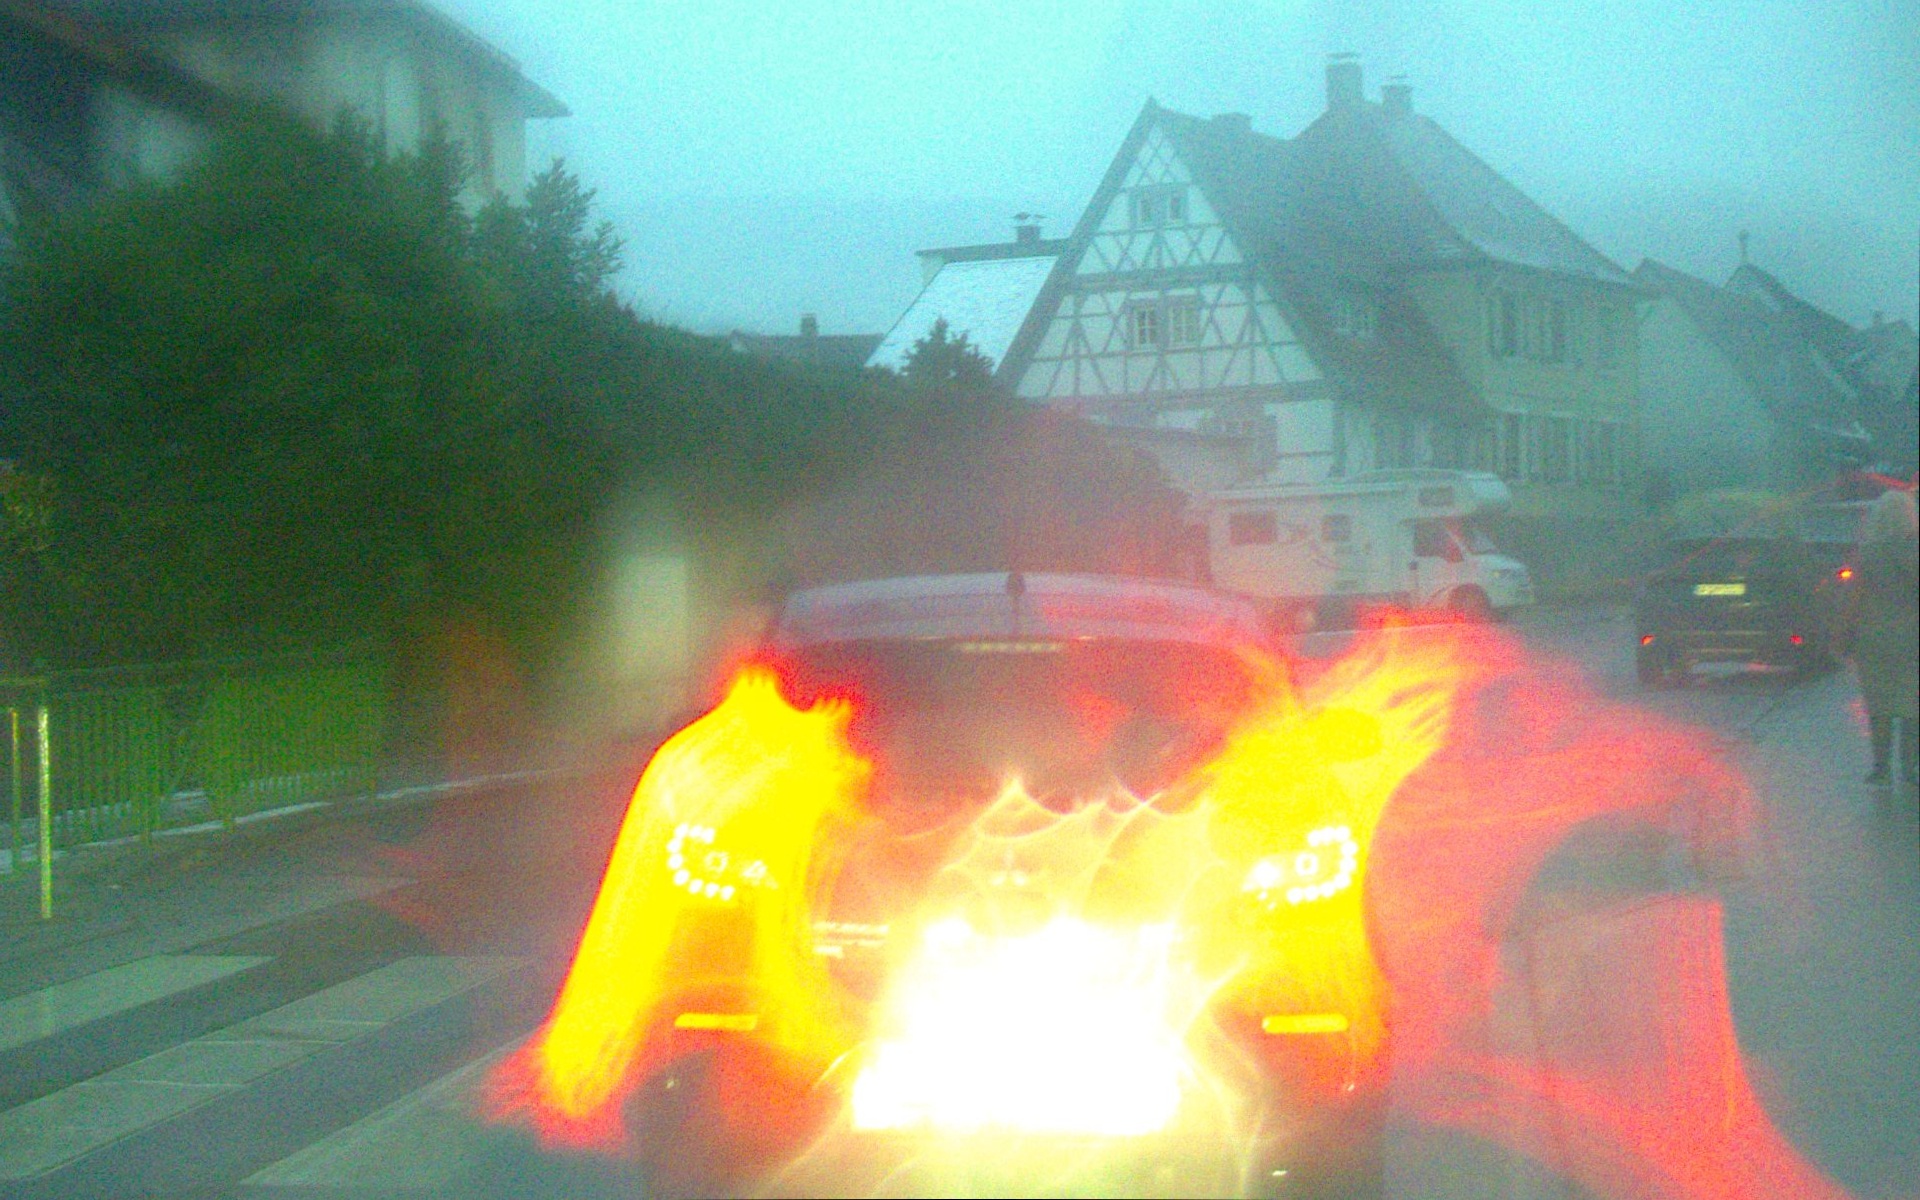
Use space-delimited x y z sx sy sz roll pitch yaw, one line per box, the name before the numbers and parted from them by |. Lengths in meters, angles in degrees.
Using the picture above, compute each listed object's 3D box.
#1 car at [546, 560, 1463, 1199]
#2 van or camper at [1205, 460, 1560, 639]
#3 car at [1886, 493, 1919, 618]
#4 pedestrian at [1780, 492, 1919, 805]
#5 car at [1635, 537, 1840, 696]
car | 0.109 0.645 8.734 1.795 1.471 4.000 0 1 1
van or camper | 8.013 -0.931 65.312 6.068 2.945 2.403 -4 -1 26
car | 19.541 -0.902 68.180 1.816 2.405 3.747 -1 1 22
pedestrian | 5.112 0.251 19.181 0.868 1.661 0.991 -4 0 18
car | 8.581 0.140 37.715 1.849 1.631 4.332 0 1 17
